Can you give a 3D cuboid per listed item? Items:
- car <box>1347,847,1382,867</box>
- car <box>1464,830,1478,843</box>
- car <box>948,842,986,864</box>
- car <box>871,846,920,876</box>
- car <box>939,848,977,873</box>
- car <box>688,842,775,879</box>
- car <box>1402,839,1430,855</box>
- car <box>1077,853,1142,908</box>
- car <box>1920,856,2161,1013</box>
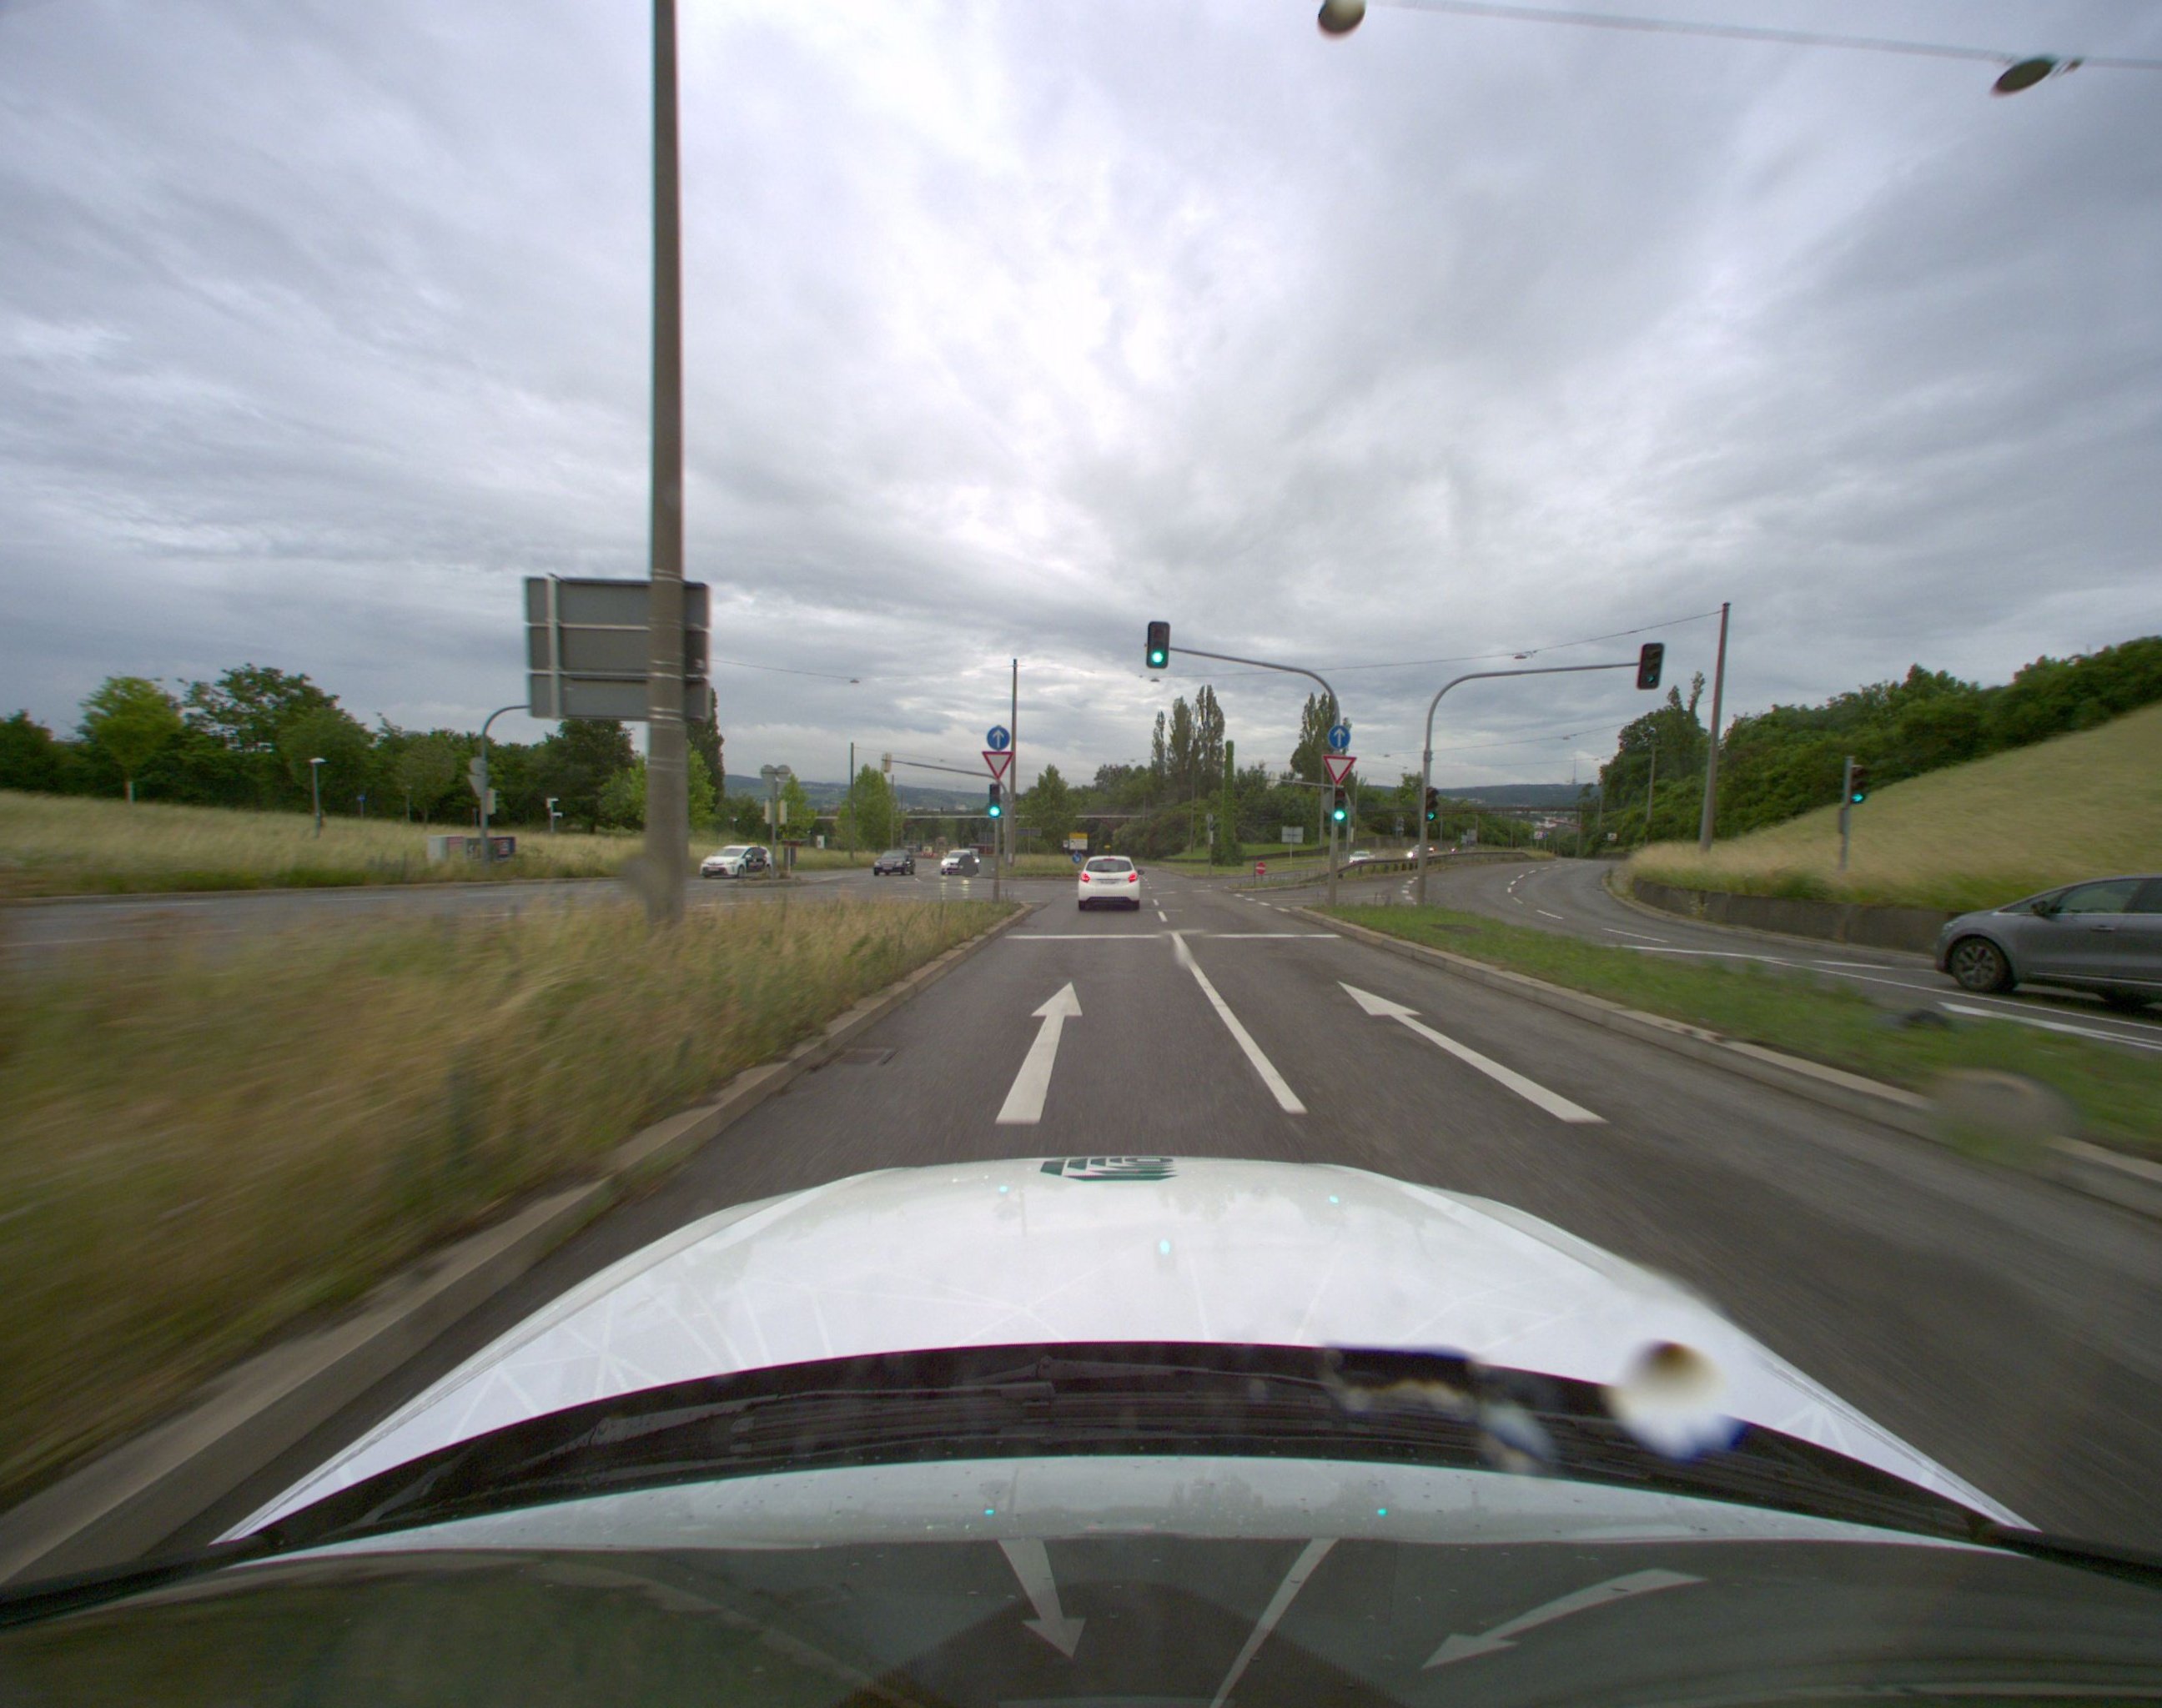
[{"bbox_3d":[25.700,0.233,73.759,1.975,1.617,4.026,3,4,35],"label":"car"},{"bbox_3d":[68.055,-3.045,142.097,2.055,2.083,4.399,3,4,28],"label":"car"},{"bbox_3d":[-7.616,-0.077,54.867,1.888,1.324,4.002,1,2,1],"label":"car"},{"bbox_3d":[-10.289,0.413,45.413,1.890,1.537,3.997,1,-1,-1],"label":"car"},{"bbox_3d":[-7.210,0.419,48.036,1.733,1.373,3.996,1,-1,-2],"label":"car"},{"bbox_3d":[-16.796,0.341,39.427,1.877,1.611,4.681,1,-1,4],"label":"car"},{"bbox_3d":[39.306,-0.832,95.498,1.975,1.617,4.400,3,4,35],"label":"car"},{"bbox_3d":[0.858,0.713,23.309,1.701,1.440,3.693,0,-1,3],"label":"car"},{"bbox_3d":[12.396,0.905,9.047,1.716,1.649,4.634,3,0,7],"label":"car"}]
